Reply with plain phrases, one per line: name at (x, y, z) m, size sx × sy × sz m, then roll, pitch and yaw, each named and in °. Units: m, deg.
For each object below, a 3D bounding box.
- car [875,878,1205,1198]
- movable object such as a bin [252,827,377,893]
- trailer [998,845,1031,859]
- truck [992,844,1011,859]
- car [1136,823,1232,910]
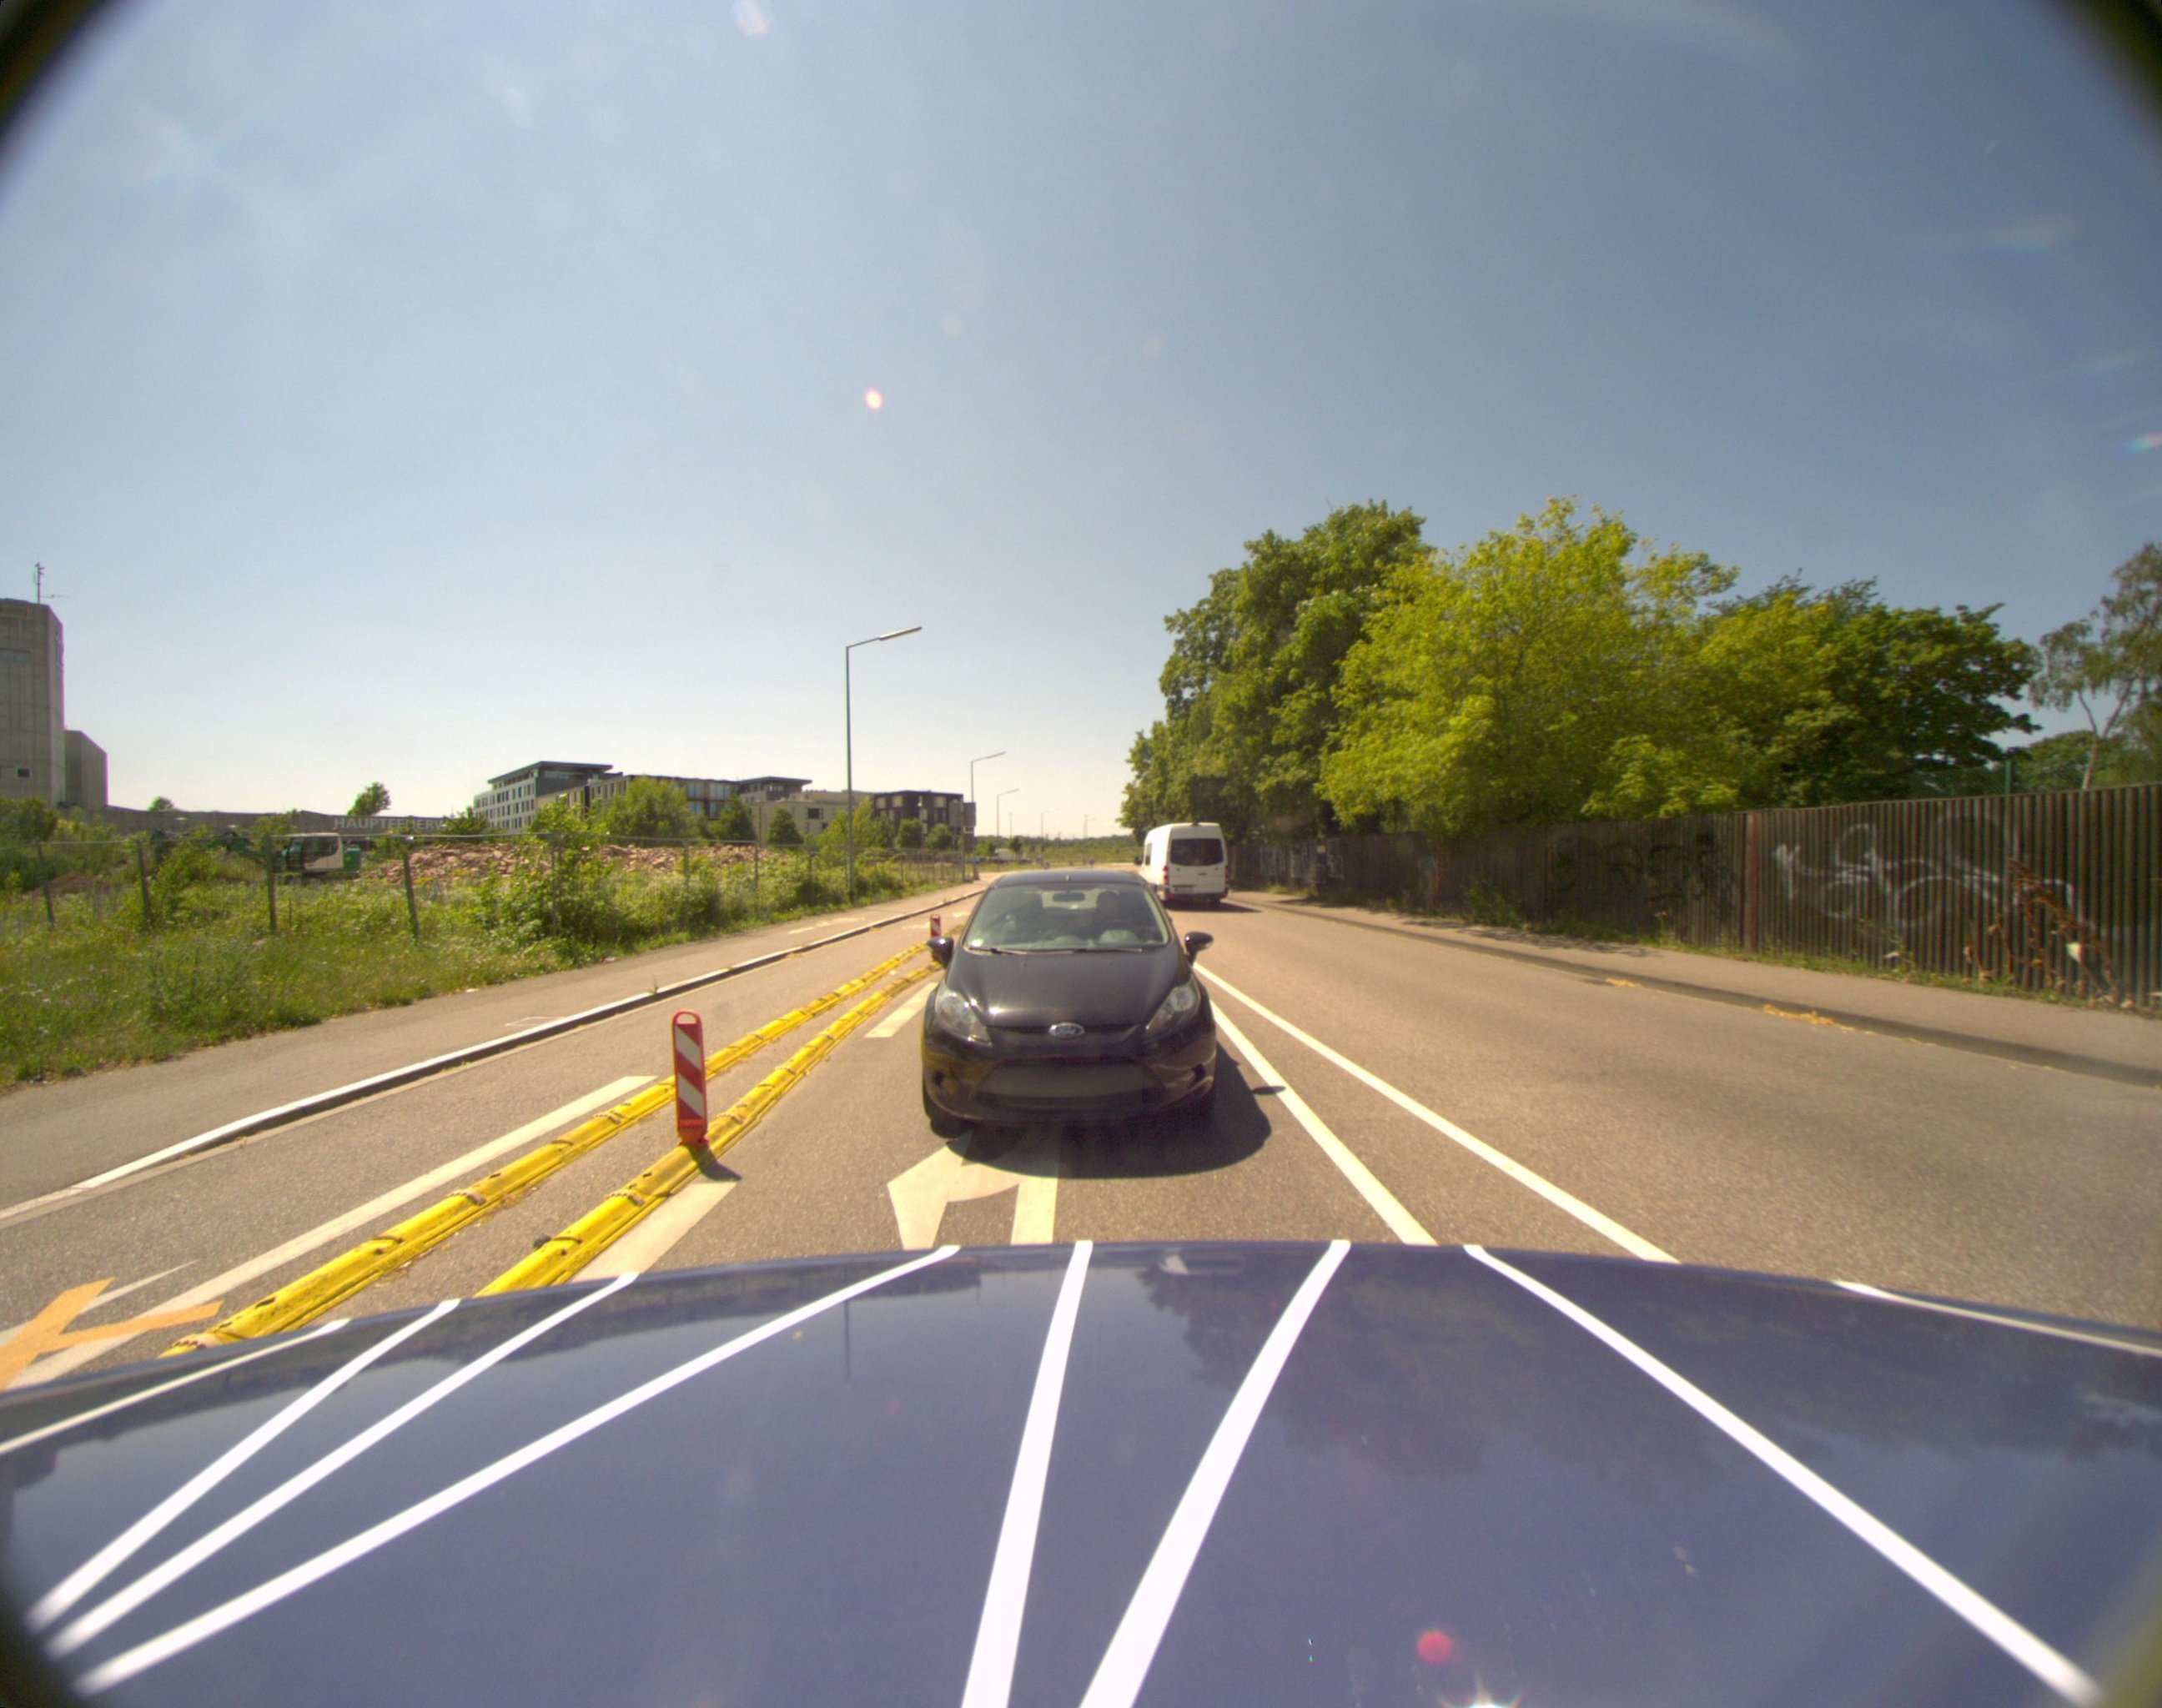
car at (-0.183, 0.980, 5.783) m, size 1.602 × 1.422 × 4.000 m, roll -2°, pitch 0°, yaw 1°
movable object such as a bin at (-37.642, 0.270, 37.457) m, size 2.204 × 3.045 × 3.690 m, roll -2°, pitch 1°, yaw 6°
trailer at (-15.184, -0.463, 174.128) m, size 8.194 × 3.329 × 1.994 m, roll -1°, pitch 0°, yaw -45°
truck at (-17.940, -0.464, 171.387) m, size 4.008 × 3.316 × 1.994 m, roll -1°, pitch 0°, yaw -45°
car at (3.243, 0.342, 25.531) m, size 2.025 × 2.524 × 6.826 m, roll 0°, pitch 0°, yaw -2°
